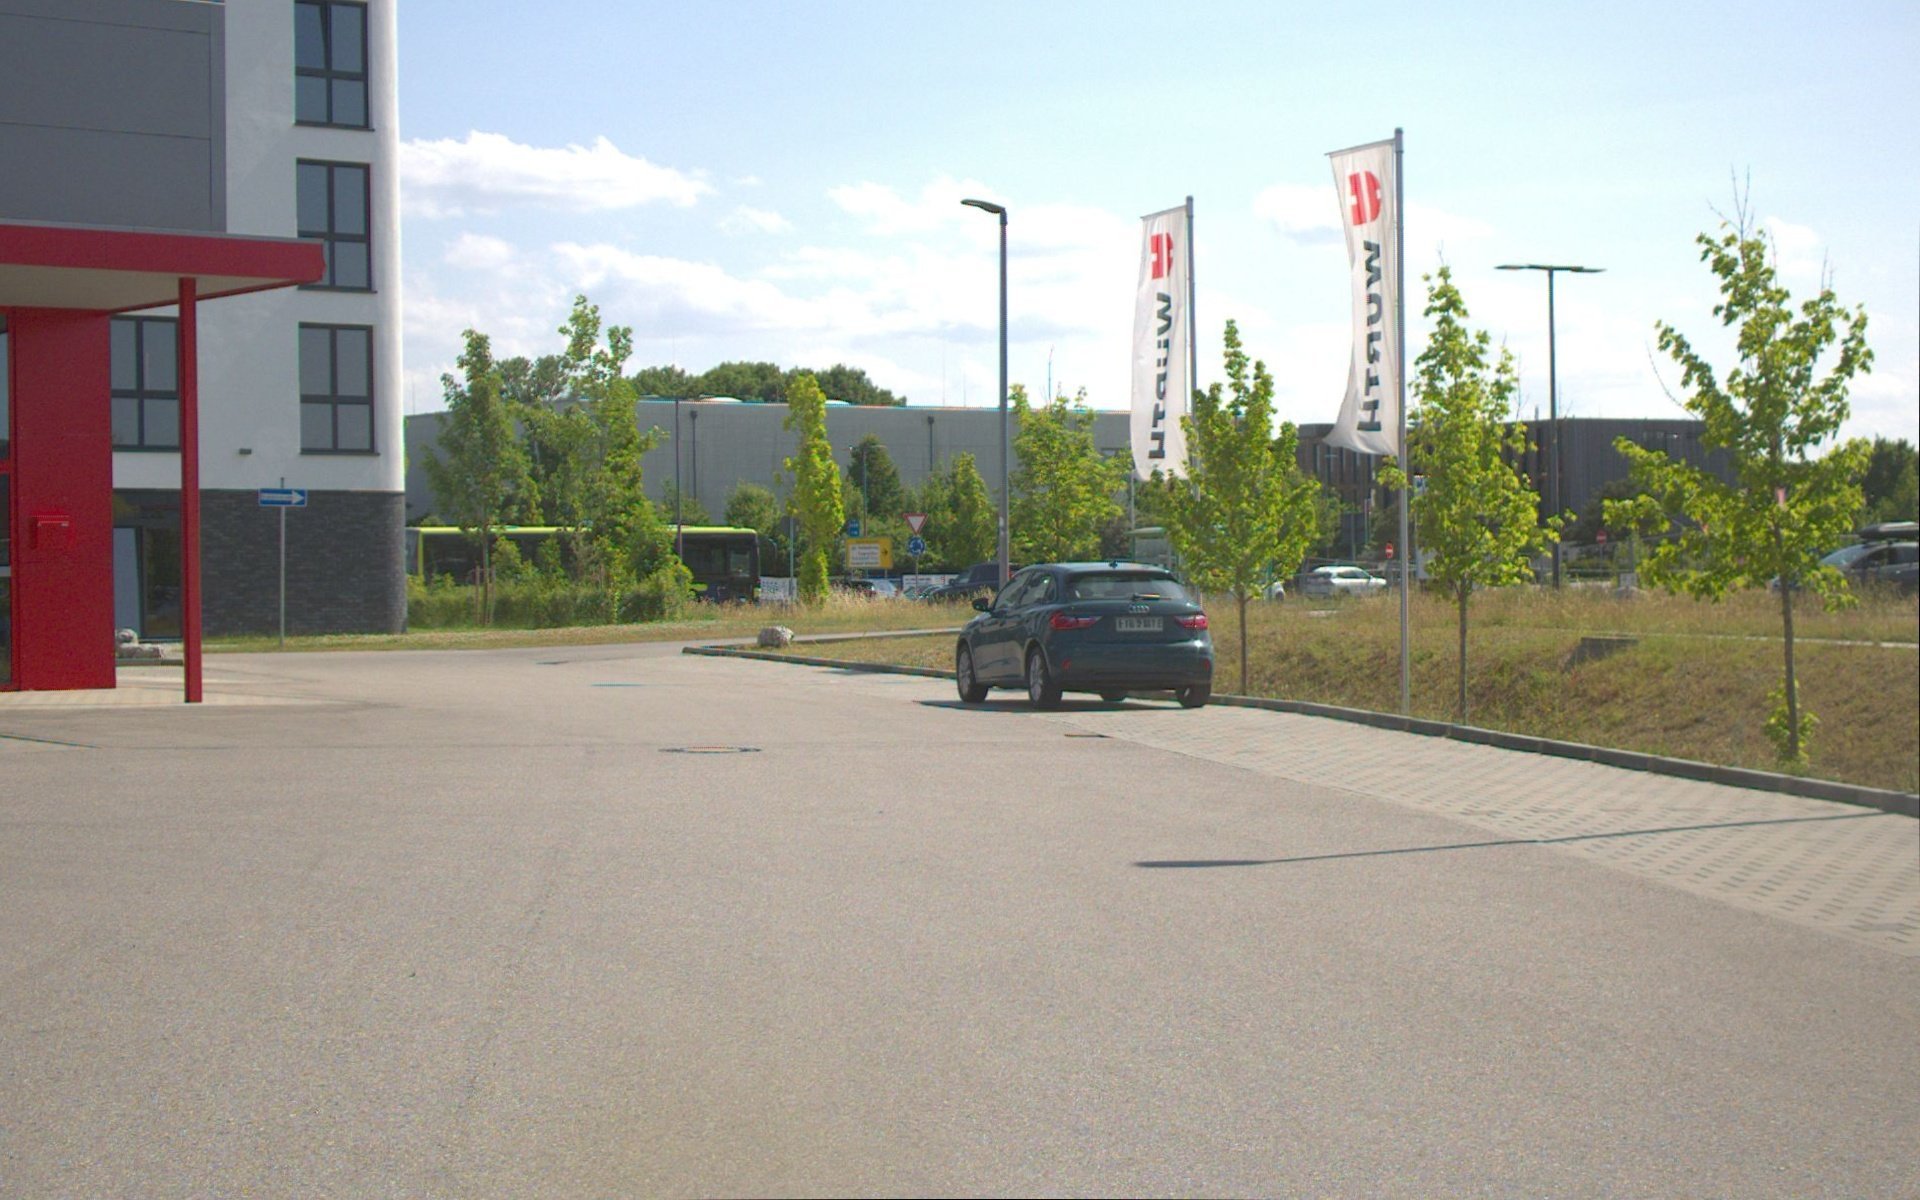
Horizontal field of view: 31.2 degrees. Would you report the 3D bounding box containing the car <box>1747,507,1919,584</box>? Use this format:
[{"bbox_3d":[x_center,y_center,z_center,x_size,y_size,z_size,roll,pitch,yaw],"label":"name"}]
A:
[{"bbox_3d":[18.676,-1.174,72.953,3.655,1.592,1.715,-1,1,-29],"label":"car"}]

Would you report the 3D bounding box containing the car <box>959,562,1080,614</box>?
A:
[{"bbox_3d":[1.636,-0.340,96.053,1.647,1.381,3.512,-1,2,-34],"label":"car"}]

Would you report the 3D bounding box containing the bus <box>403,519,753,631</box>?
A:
[{"bbox_3d":[-12.508,-0.884,113.211,11.212,3.545,2.576,-1,1,-27],"label":"bus"}]

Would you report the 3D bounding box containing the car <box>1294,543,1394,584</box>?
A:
[{"bbox_3d":[16.150,-1.544,144.604,3.946,1.652,1.906,-1,2,-37],"label":"car"}]

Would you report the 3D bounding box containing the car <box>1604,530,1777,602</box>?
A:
[{"bbox_3d":[16.708,-0.797,78.641,3.655,1.592,1.715,-1,1,-29],"label":"car"}]

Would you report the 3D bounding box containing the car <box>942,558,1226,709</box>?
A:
[{"bbox_3d":[1.161,0.283,34.117,1.698,1.401,3.898,0,1,-16],"label":"car"}]
